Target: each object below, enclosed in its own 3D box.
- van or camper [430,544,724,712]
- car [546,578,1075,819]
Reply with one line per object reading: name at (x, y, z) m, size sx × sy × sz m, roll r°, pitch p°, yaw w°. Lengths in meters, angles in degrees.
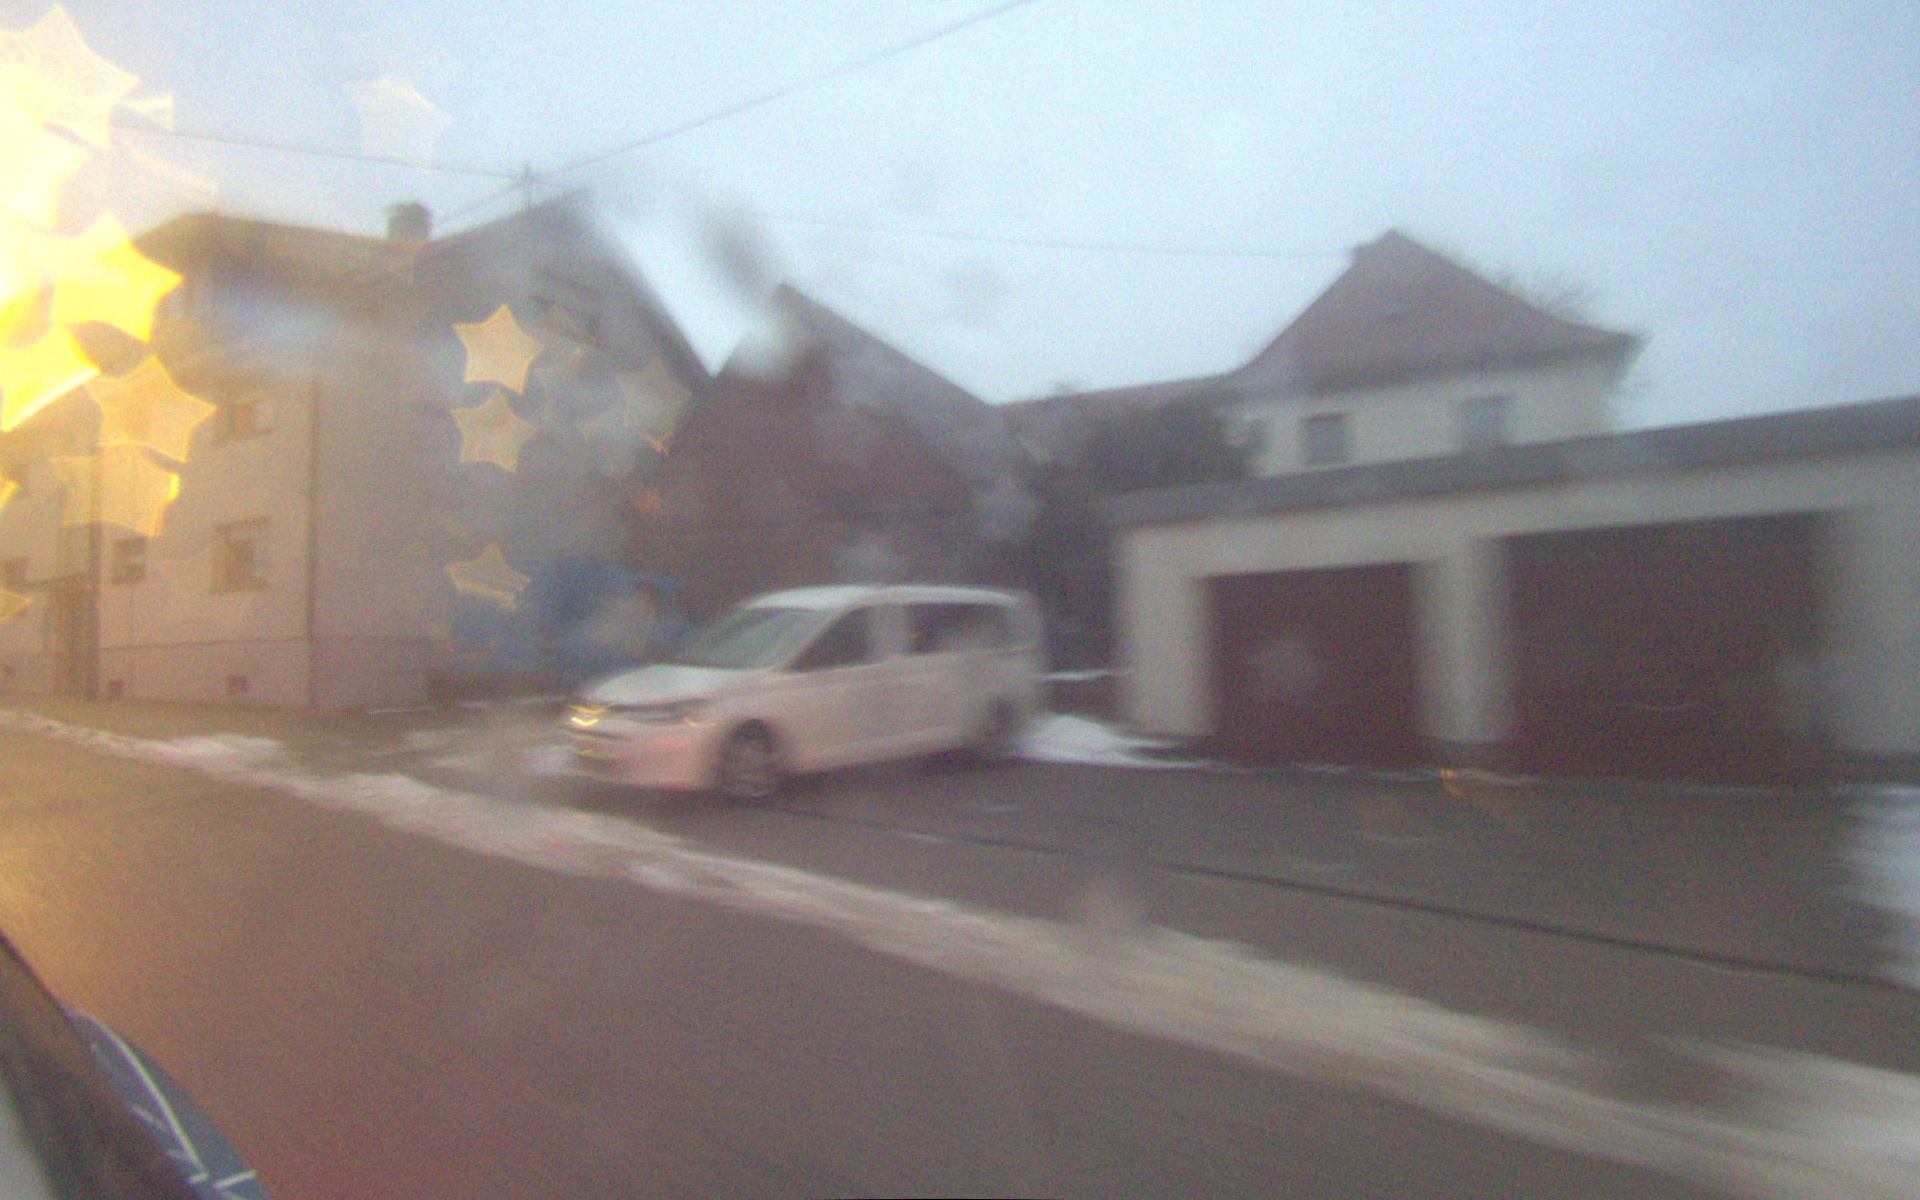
van or camper at (-6.370, 0.536, 17.716) m, size 2.126 × 2.467 × 5.279 m, roll -1°, pitch -3°, yaw 15°
car at (-1.142, 0.689, 9.551) m, size 1.891 × 1.679 × 4.738 m, roll -2°, pitch 0°, yaw 44°
